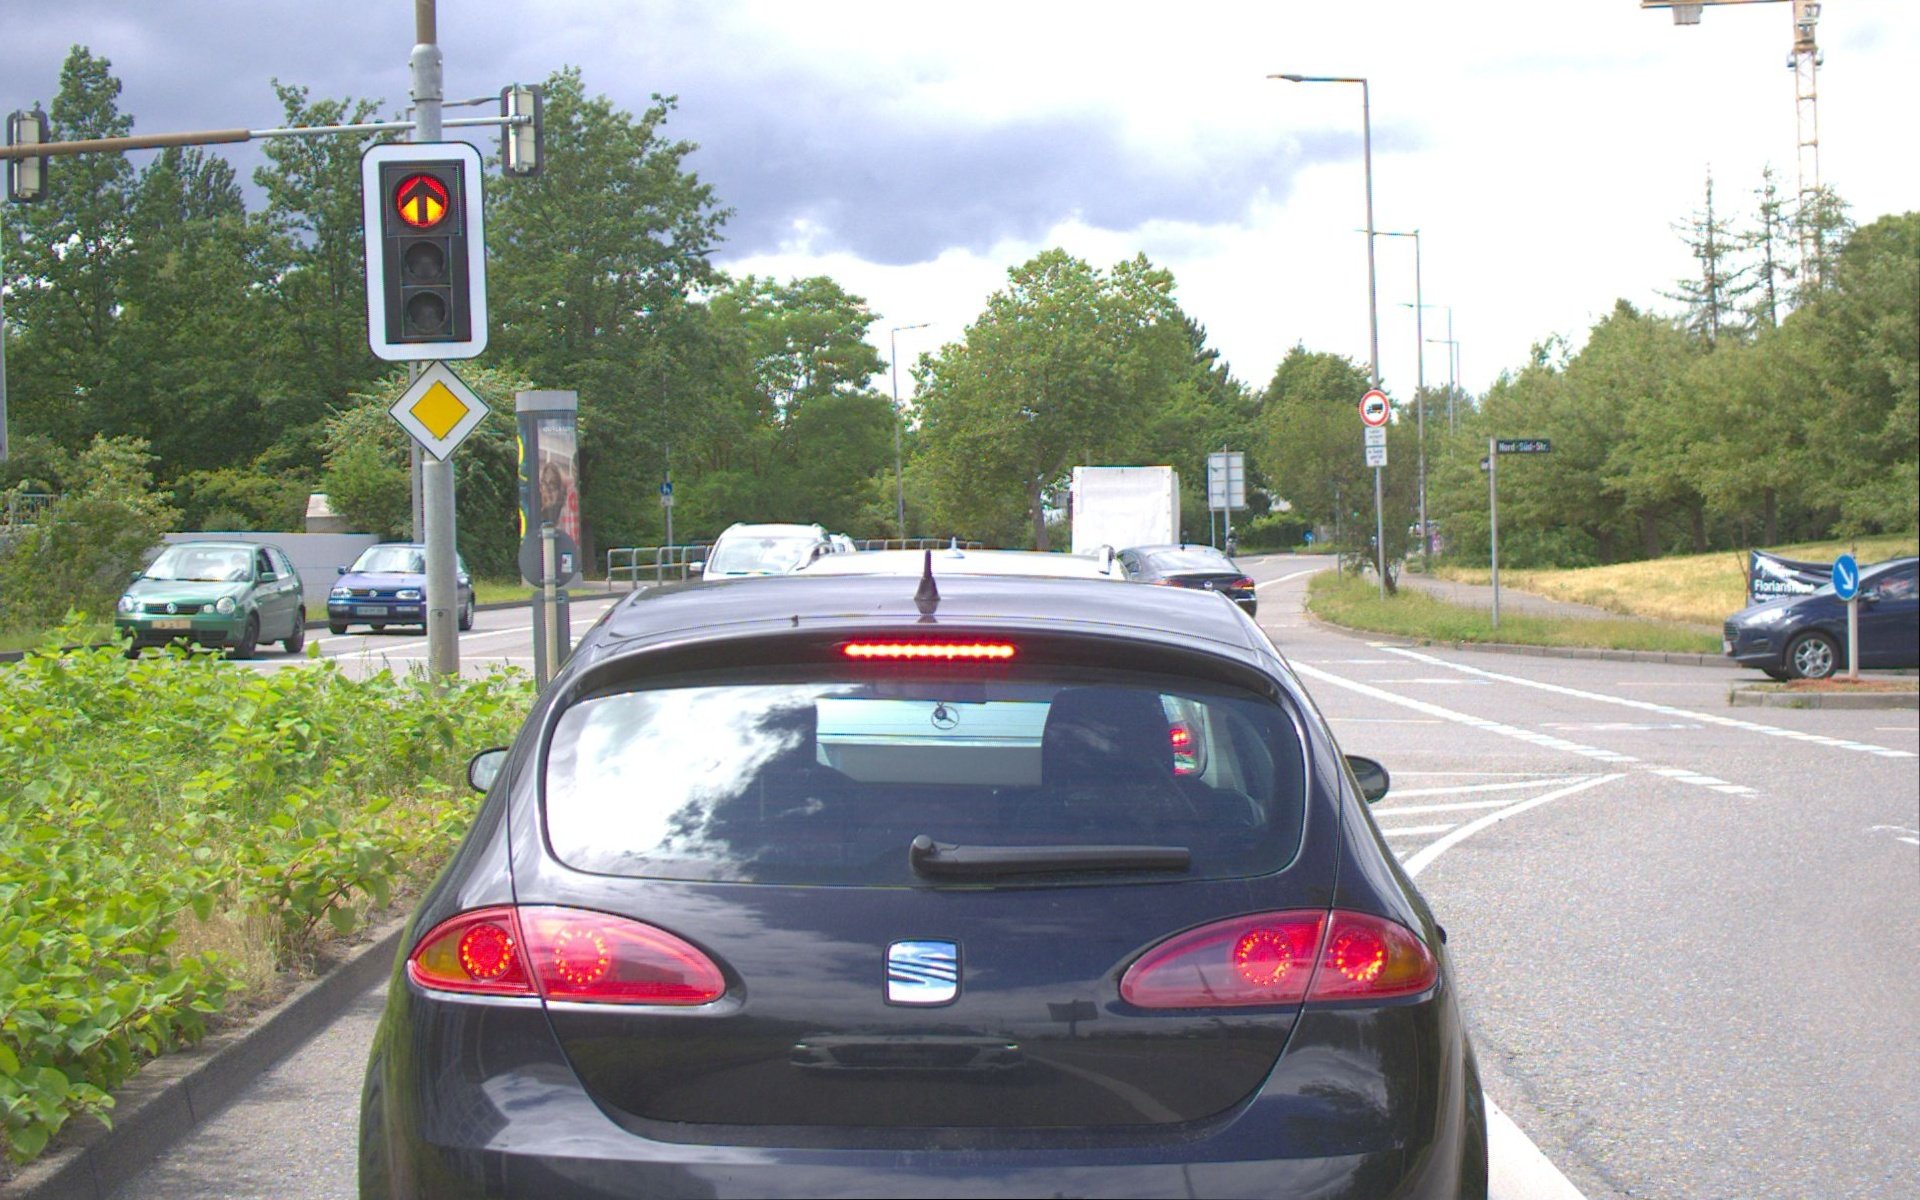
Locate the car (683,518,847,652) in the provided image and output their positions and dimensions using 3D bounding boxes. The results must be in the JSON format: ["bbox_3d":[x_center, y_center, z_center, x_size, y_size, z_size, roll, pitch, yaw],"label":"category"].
[{"bbox_3d":[-2.567,-0.249,46.202,1.820,1.681,4.645,1,1,1],"label":"car"}]

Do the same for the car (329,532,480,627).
[{"bbox_3d":[-8.723,-0.349,54.238,1.554,1.414,3.895,0,1,3],"label":"car"}]

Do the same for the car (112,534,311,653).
[{"bbox_3d":[-9.420,-0.110,43.531,1.605,1.427,3.752,0,1,2],"label":"car"}]

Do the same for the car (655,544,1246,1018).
[{"bbox_3d":[-0.010,0.548,12.671,1.834,1.462,3.751,1,1,1],"label":"car"}]

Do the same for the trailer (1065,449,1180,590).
[{"bbox_3d":[3.747,-1.806,78.746,2.491,3.063,5.586,1,1,3],"label":"trailer"}]

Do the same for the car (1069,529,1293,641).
[{"bbox_3d":[3.195,-0.254,50.662,1.993,1.560,4.472,-1,1,-15],"label":"car"}]

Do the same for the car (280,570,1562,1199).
[{"bbox_3d":[-0.070,0.681,6.342,1.711,1.412,3.459,1,1,0],"label":"car"}]

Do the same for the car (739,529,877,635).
[{"bbox_3d":[-2.267,-0.302,52.279,1.660,1.513,4.084,1,1,3],"label":"car"}]

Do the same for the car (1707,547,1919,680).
[{"bbox_3d":[10.584,0.155,38.928,3.879,1.441,1.760,1,1,2],"label":"car"}]
